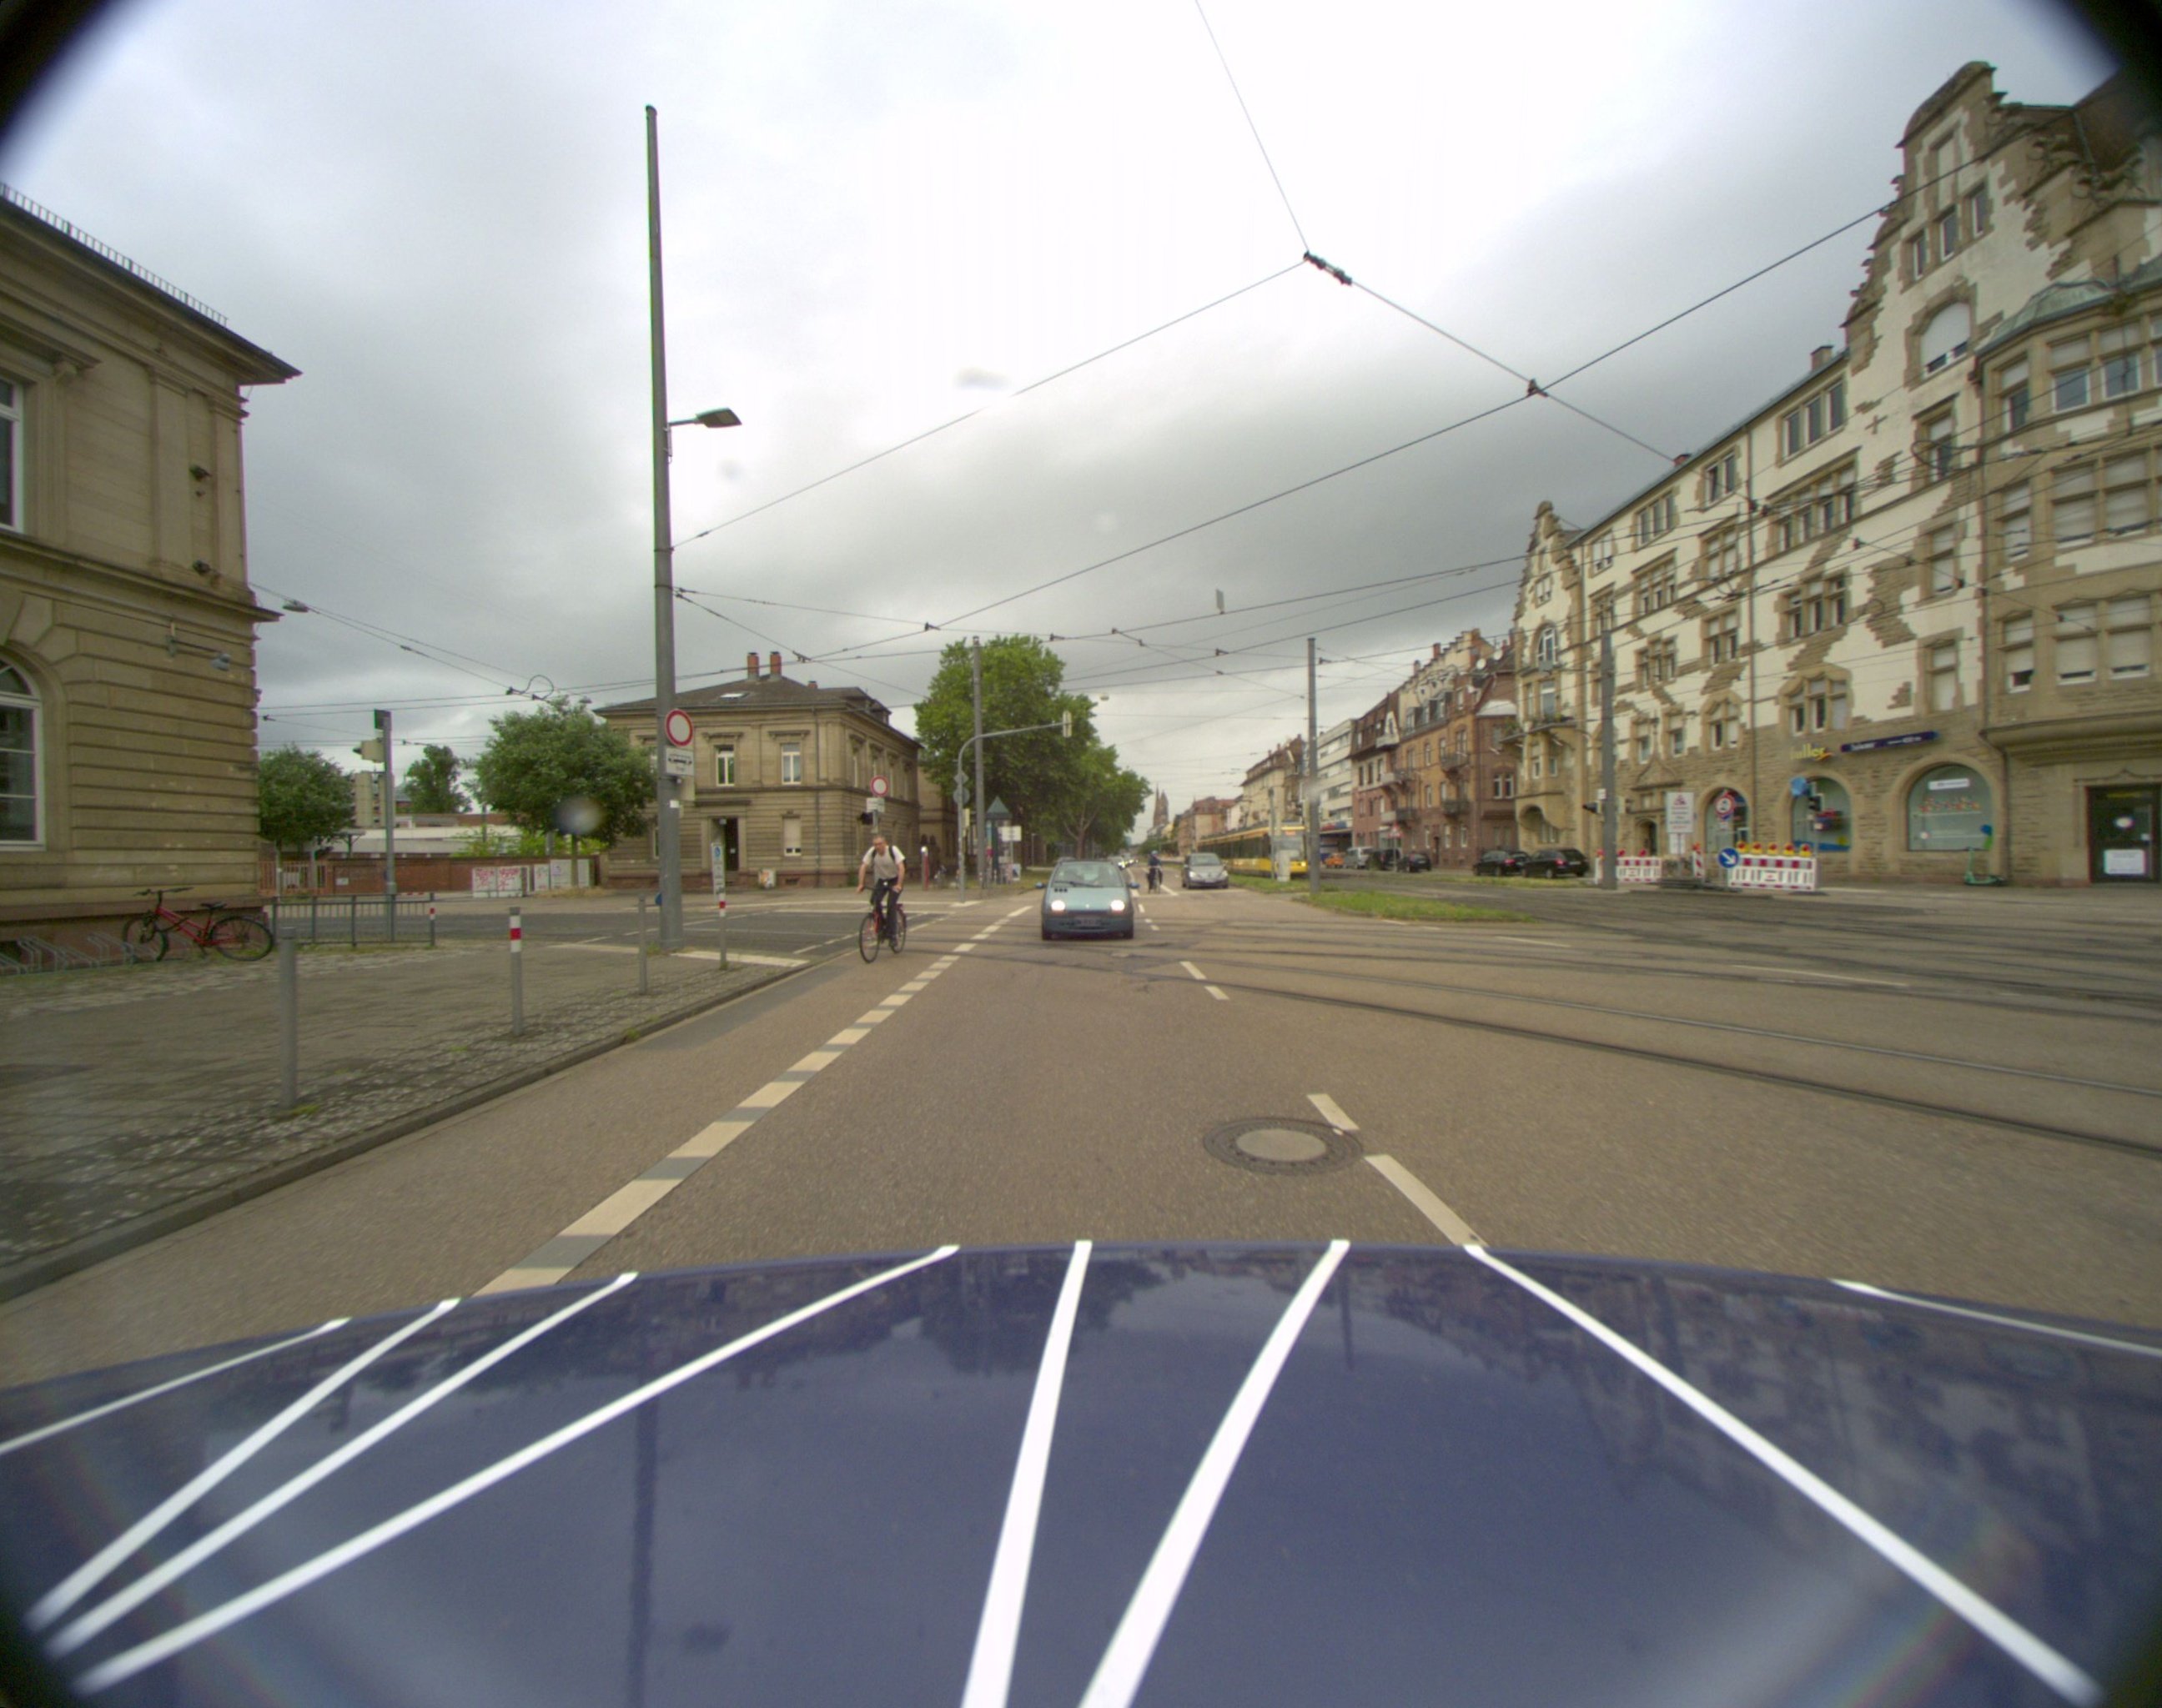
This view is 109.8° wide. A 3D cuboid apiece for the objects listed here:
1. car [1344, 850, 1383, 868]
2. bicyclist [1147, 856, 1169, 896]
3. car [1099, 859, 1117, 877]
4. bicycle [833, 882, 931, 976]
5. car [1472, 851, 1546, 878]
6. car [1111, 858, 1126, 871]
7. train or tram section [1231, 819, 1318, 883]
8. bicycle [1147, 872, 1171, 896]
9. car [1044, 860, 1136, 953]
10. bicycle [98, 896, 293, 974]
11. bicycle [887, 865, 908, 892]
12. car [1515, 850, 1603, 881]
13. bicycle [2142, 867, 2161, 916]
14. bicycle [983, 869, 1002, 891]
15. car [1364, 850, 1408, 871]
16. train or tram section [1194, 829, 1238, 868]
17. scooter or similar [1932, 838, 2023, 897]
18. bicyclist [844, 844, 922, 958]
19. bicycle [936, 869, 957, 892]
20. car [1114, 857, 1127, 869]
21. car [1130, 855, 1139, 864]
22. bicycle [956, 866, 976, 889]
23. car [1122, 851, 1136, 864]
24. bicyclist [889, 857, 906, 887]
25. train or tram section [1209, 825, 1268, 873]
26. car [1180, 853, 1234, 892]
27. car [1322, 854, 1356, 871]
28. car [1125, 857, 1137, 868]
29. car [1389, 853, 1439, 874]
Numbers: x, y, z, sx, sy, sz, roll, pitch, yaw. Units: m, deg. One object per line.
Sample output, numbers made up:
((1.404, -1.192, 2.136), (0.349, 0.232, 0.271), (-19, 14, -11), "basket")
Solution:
((25.761, 0.453, 69.423), (1.998, 1.587, 3.999), (-1, 1, 0), "car")
((3.153, 0.895, 31.050), (0.811, 1.586, 0.890), (-1, -1, 1), "bicyclist")
((2.478, 1.241, 68.924), (1.534, 1.464, 3.354), (0, 1, 4), "car")
((-2.913, 1.059, 11.419), (0.814, 1.163, 2.277), (-1, 1, 1), "bicycle")
((24.494, 0.547, 43.620), (1.998, 1.434, 3.999), (-1, 1, 0), "car")
((4.144, 1.139, 84.528), (1.546, 1.336, 3.796), (-1, 0, 2), "car")
((11.859, -0.218, 48.095), (2.651, 3.417, 13.620), (-1, 1, 3), "train or tram section")
((3.168, 1.235, 31.127), (0.811, 0.939, 2.147), (-1, -2, 1), "bicycle")
((0.264, 0.887, 14.312), (1.534, 1.464, 3.354), (0, 1, 4), "car")
((-12.977, 1.185, 11.189), (1.859, 1.072, 0.547), (2, 0, -16), "bicycle")
((-8.646, 1.151, 35.849), (0.677, 1.158, 2.113), (-1, 1, -6), "bicycle")
((24.258, 0.532, 38.735), (1.998, 1.434, 3.999), (-1, 1, 0), "car")
((23.139, 0.785, 15.289), (0.708, 1.030, 2.022), (-1, -1, -2), "bicycle")
((-4.507, 1.301, 38.574), (0.718, 1.062, 1.699), (-1, 1, 1), "bicycle")
((25.195, 0.525, 62.860), (1.998, 1.587, 3.999), (-1, 1, 0), "car")
((13.177, -0.551, 75.283), (2.651, 3.417, 13.620), (-1, 1, 3), "train or tram section")
((26.754, 0.376, 22.719), (0.565, 1.705, 1.830), (-1, 1, 1), "scooter or similar")
((-2.915, 0.657, 11.324), (0.812, 1.591, 1.189), (-1, 1, 0), "bicyclist")
((-6.804, 1.332, 38.631), (0.718, 1.062, 1.699), (-1, 1, 1), "bicycle")
((4.756, 1.069, 91.572), (1.534, 1.464, 3.354), (0, 1, 4), "car")
((13.294, 1.404, 188.375), (1.998, 2.002, 4.000), (-1, 1, 1), "car")
((-5.827, 1.180, 38.614), (0.718, 1.062, 1.699), (-1, 1, 1), "bicycle")
((7.830, 0.563, 124.146), (1.998, 2.002, 4.000), (-1, 1, 1), "car")
((-8.623, 0.834, 35.731), (0.695, 1.392, 0.815), (-1, 1, -8), "bicyclist")
((12.518, -0.419, 61.667), (2.651, 3.417, 13.620), (-1, 1, 3), "train or tram section")
((5.664, 0.801, 34.535), (1.868, 1.630, 3.775), (-1, 1, 1), "car")
((25.824, 0.824, 76.141), (1.998, 1.587, 3.999), (-1, 1, 0), "car")
((9.374, 1.599, 141.543), (1.998, 2.002, 4.000), (-1, 1, 1), "car")
((24.912, 0.663, 56.930), (1.998, 1.434, 3.999), (-1, 1, 0), "car")
